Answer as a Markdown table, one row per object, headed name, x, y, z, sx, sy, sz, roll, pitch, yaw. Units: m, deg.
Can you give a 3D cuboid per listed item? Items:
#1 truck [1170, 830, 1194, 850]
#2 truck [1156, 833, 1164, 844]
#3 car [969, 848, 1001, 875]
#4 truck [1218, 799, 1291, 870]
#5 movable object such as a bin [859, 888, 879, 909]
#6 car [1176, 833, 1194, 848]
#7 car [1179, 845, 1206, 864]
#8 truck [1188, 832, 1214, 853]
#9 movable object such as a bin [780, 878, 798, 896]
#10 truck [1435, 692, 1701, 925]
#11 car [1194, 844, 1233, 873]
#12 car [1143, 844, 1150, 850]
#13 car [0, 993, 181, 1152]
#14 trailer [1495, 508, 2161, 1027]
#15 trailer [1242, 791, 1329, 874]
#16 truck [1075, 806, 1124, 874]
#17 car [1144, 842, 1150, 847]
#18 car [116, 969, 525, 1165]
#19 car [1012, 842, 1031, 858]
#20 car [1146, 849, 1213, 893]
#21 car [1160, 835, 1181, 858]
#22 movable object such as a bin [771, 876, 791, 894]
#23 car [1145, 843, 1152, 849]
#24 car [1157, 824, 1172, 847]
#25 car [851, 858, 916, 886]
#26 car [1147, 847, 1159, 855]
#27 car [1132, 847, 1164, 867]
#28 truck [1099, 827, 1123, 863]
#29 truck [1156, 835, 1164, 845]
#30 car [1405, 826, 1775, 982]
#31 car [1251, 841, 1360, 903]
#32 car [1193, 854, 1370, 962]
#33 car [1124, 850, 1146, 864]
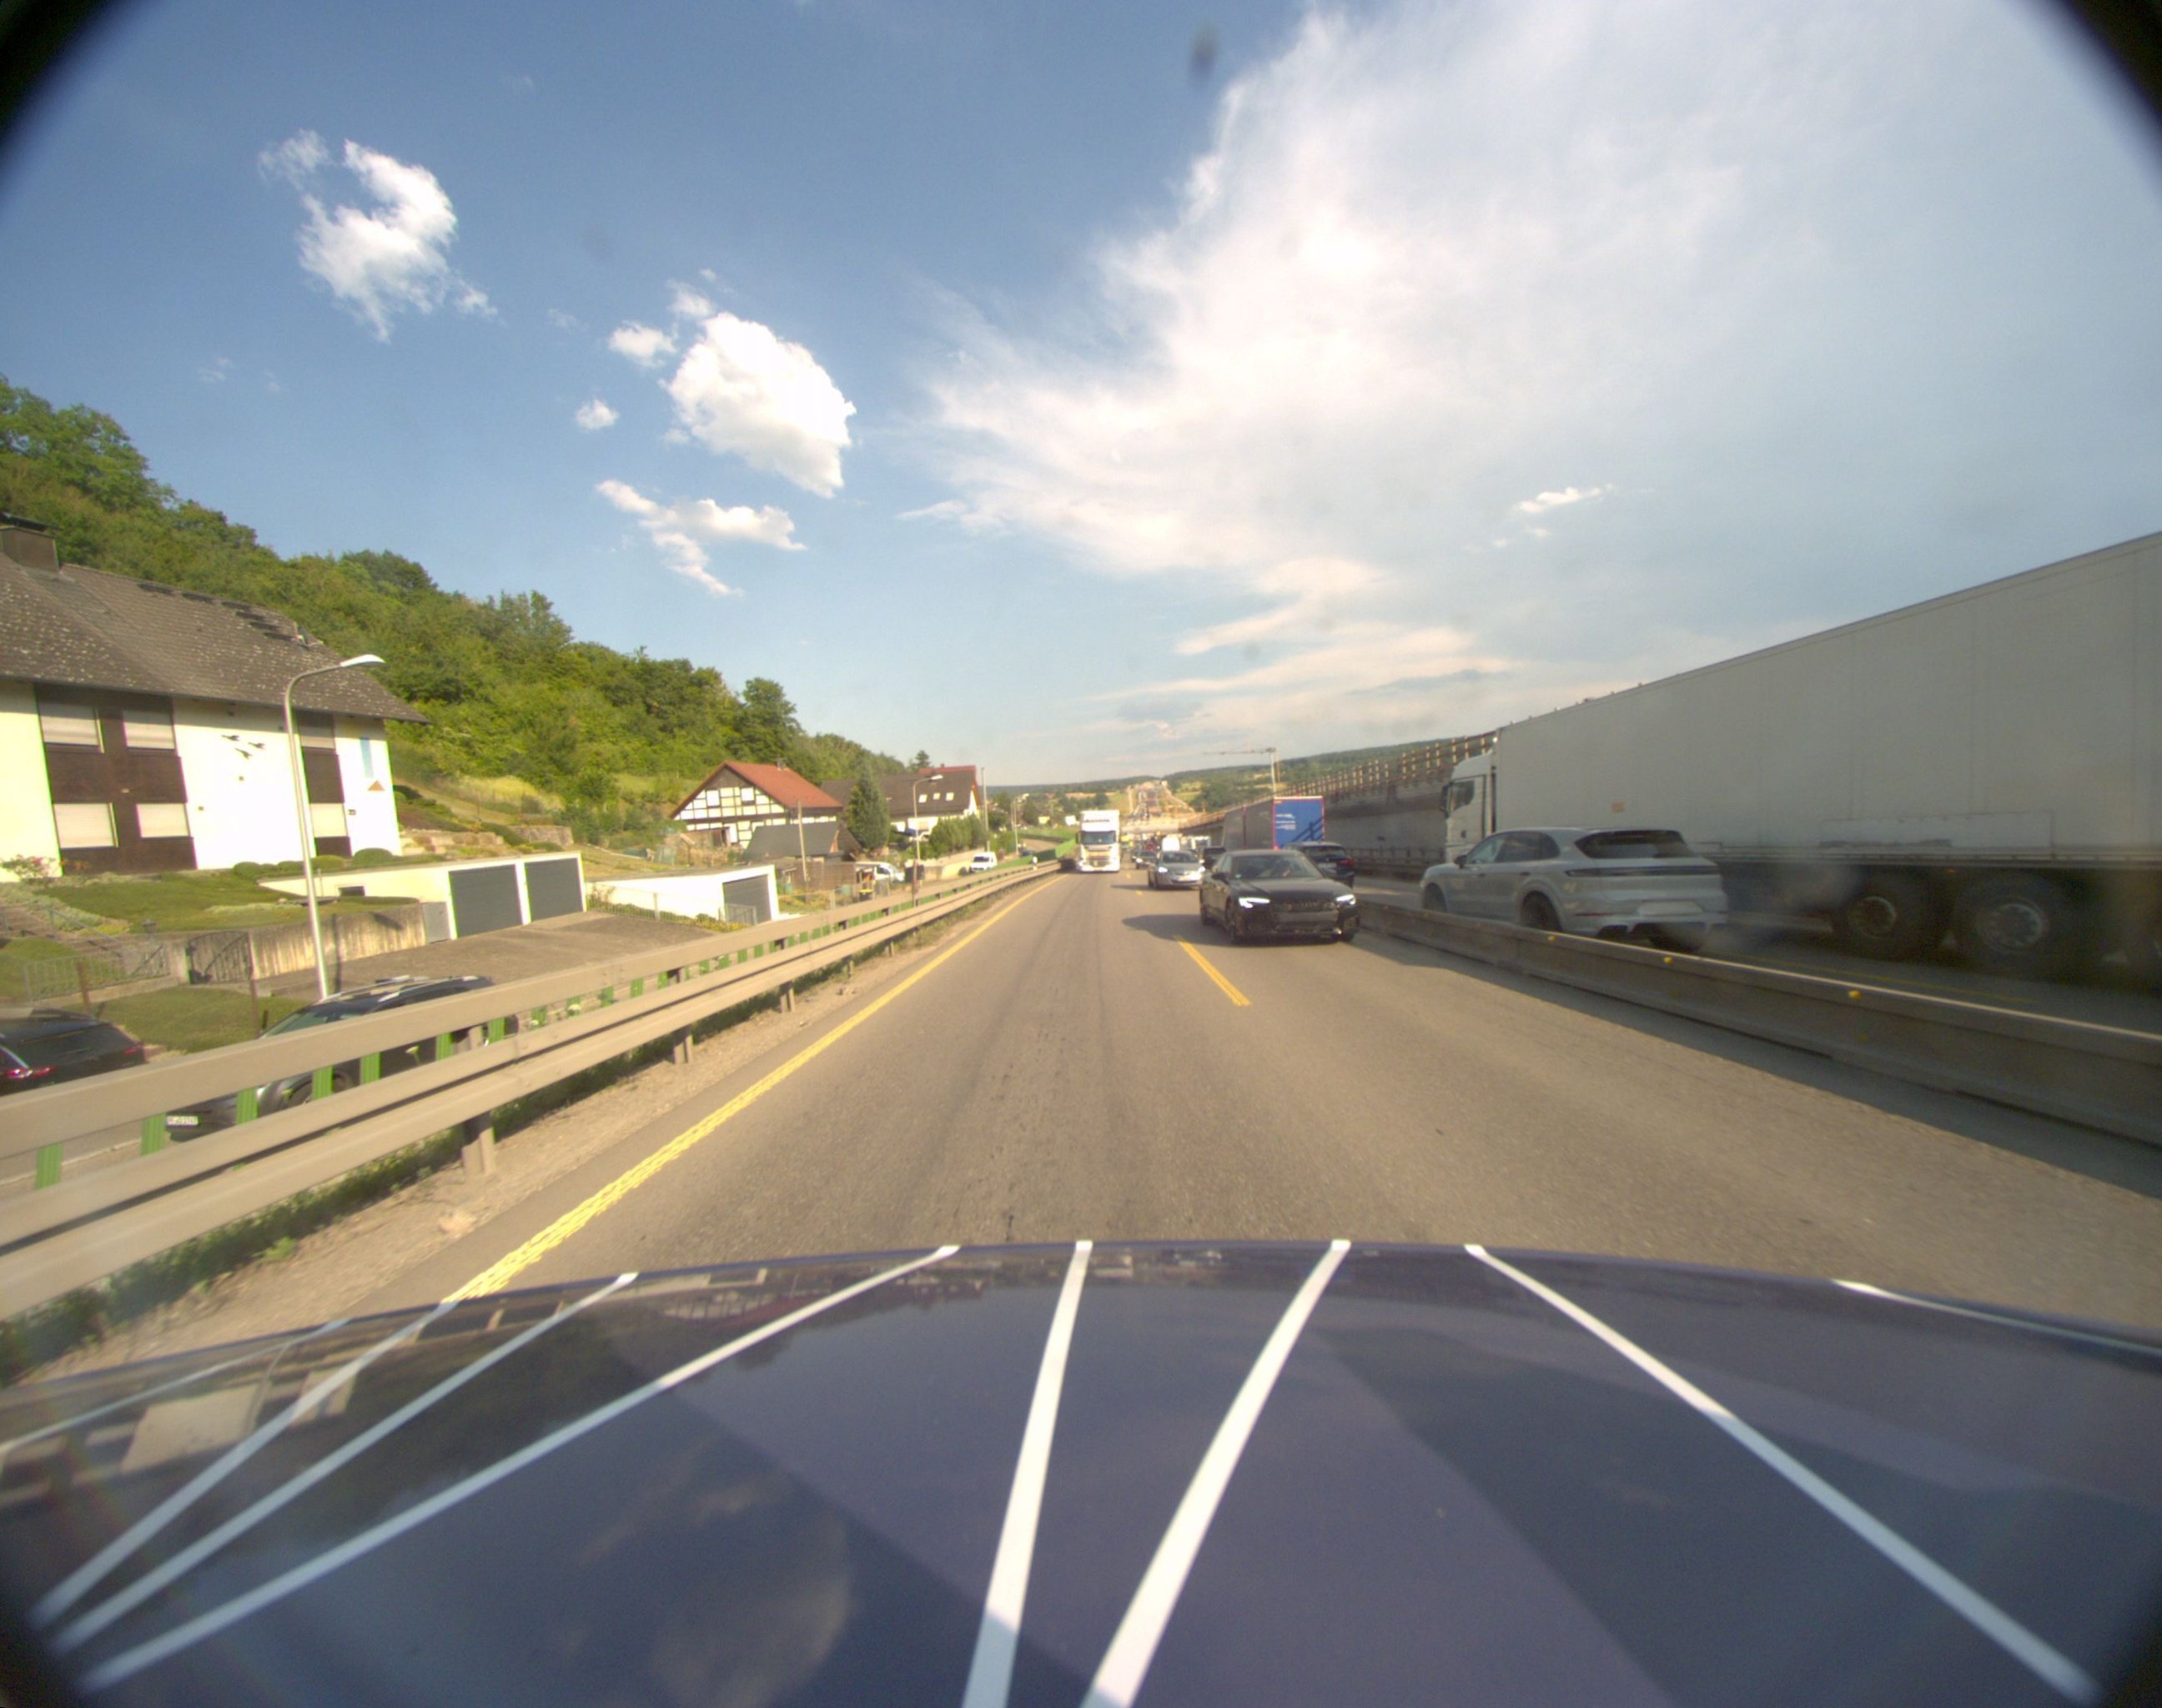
| name | x | y | z | sx | sy | sz | roll | pitch | yaw |
| --- | --- | --- | --- | --- | --- | --- | --- | --- | --- |
| truck | 16.851 | -2.311 | 127.184 | 3.242 | 3.127 | 6.489 | -1 | 1 | 2 |
| truck | 21.836 | -4.244 | 210.394 | 1.998 | 3.154 | 5.763 | -1 | 1 | 3 |
| car | -7.940 | 0.584 | 63.123 | 1.824 | 1.931 | 4.283 | -3 | 2 | 2 |
| truck | 11.480 | -1.248 | 51.435 | 2.822 | 4.234 | 10.580 | -1 | 1 | 2 |
| movable object such as a bin | -11.005 | 2.331 | 39.458 | 0.723 | 0.995 | 0.677 | -4 | 2 | 3 |
| car | 15.497 | -2.040 | 113.150 | 2.214 | 2.011 | 3.973 | -5 | 1 | 3 |
| car | 9.396 | 0.017 | 64.470 | 1.746 | 1.432 | 4.592 | -3 | 0 | 3 |
| truck | 14.537 | -1.334 | 92.313 | 2.279 | 2.288 | 6.064 | -5 | 1 | 3 |
| movable object such as a bin | -16.027 | 1.812 | 41.703 | 0.688 | 0.896 | 0.680 | -1 | 1 | 1 |
| truck | 10.360 | -0.885 | 16.902 | 2.461 | 4.291 | 5.473 | -1 | 1 | 1 |
| car | 7.719 | 0.213 | 44.655 | 1.703 | 1.567 | 4.369 | -1 | 1 | 2 |
| car | 17.491 | -1.907 | 204.011 | 1.712 | 1.312 | 3.665 | -5 | 1 | 3 |
| car | -17.571 | 3.307 | 12.085 | 4.502 | 1.517 | 2.000 | 4 | 4 | 6 |
| trailer | 10.237 | -0.781 | 9.818 | 2.462 | 4.295 | 13.773 | -1 | 1 | 1 |
| trailer | 11.087 | -1.127 | 42.000 | 2.822 | 4.082 | 8.287 | -1 | 1 | 2 |
| truck | 1.532 | -0.957 | 52.899 | 2.892 | 4.059 | 13.894 | -1 | 1 | 3 |
| car | 19.919 | -2.838 | 230.253 | 1.712 | 1.312 | 3.665 | -5 | 1 | 3 |
| car | -12.004 | 3.243 | 12.581 | 1.866 | 1.775 | 4.498 | -1 | 3 | 6 |
| car | -8.061 | -0.578 | 102.916 | 1.998 | 2.002 | 4.000 | -1 | 1 | 3 |
| car | 3.552 | 0.564 | 28.192 | 1.810 | 1.478 | 4.117 | -1 | 1 | -2 |
| car | 10.286 | -0.859 | 88.033 | 2.001 | 2.601 | 5.614 | -1 | 1 | 3 |
| movable object such as a bin | -16.036 | 1.668 | 40.604 | 0.791 | 0.896 | 0.680 | -1 | 1 | 1 |
| car | 16.482 | -1.961 | 185.523 | 1.712 | 1.312 | 3.665 | -5 | 1 | 3 |
| car | 20.411 | -4.379 | 186.500 | 3.326 | 5.356 | 14.301 | -1 | 1 | 4 |
| car | -13.705 | 1.230 | 52.926 | 3.996 | 1.829 | 1.750 | 1 | 3 | 3 |
| car | 11.996 | -0.510 | 126.859 | 1.712 | 1.312 | 3.665 | -5 | 1 | 3 |
| car | 5.037 | 0.227 | 57.469 | 1.823 | 1.433 | 3.999 | -3 | 0 | -2 |
| truck | 3.862 | -1.101 | 100.261 | 2.788 | 4.504 | 7.190 | -3 | 0 | 1 |
| truck | 24.510 | -4.361 | 236.142 | 1.998 | 3.154 | 5.763 | -1 | 1 | 3 |
| car | 6.798 | 0.518 | 11.044 | 2.013 | 1.645 | 4.973 | -4 | 1 | 0 |
| car | 6.765 | 0.448 | 23.471 | 1.885 | 1.597 | 4.730 | -4 | 1 | 0 |
| car | 3.190 | 0.758 | 13.278 | 1.945 | 1.472 | 5.222 | -1 | 1 | 3 |
| car | 6.580 | 0.362 | 93.227 | 1.999 | 1.565 | 3.997 | -1 | 1 | -6 |
